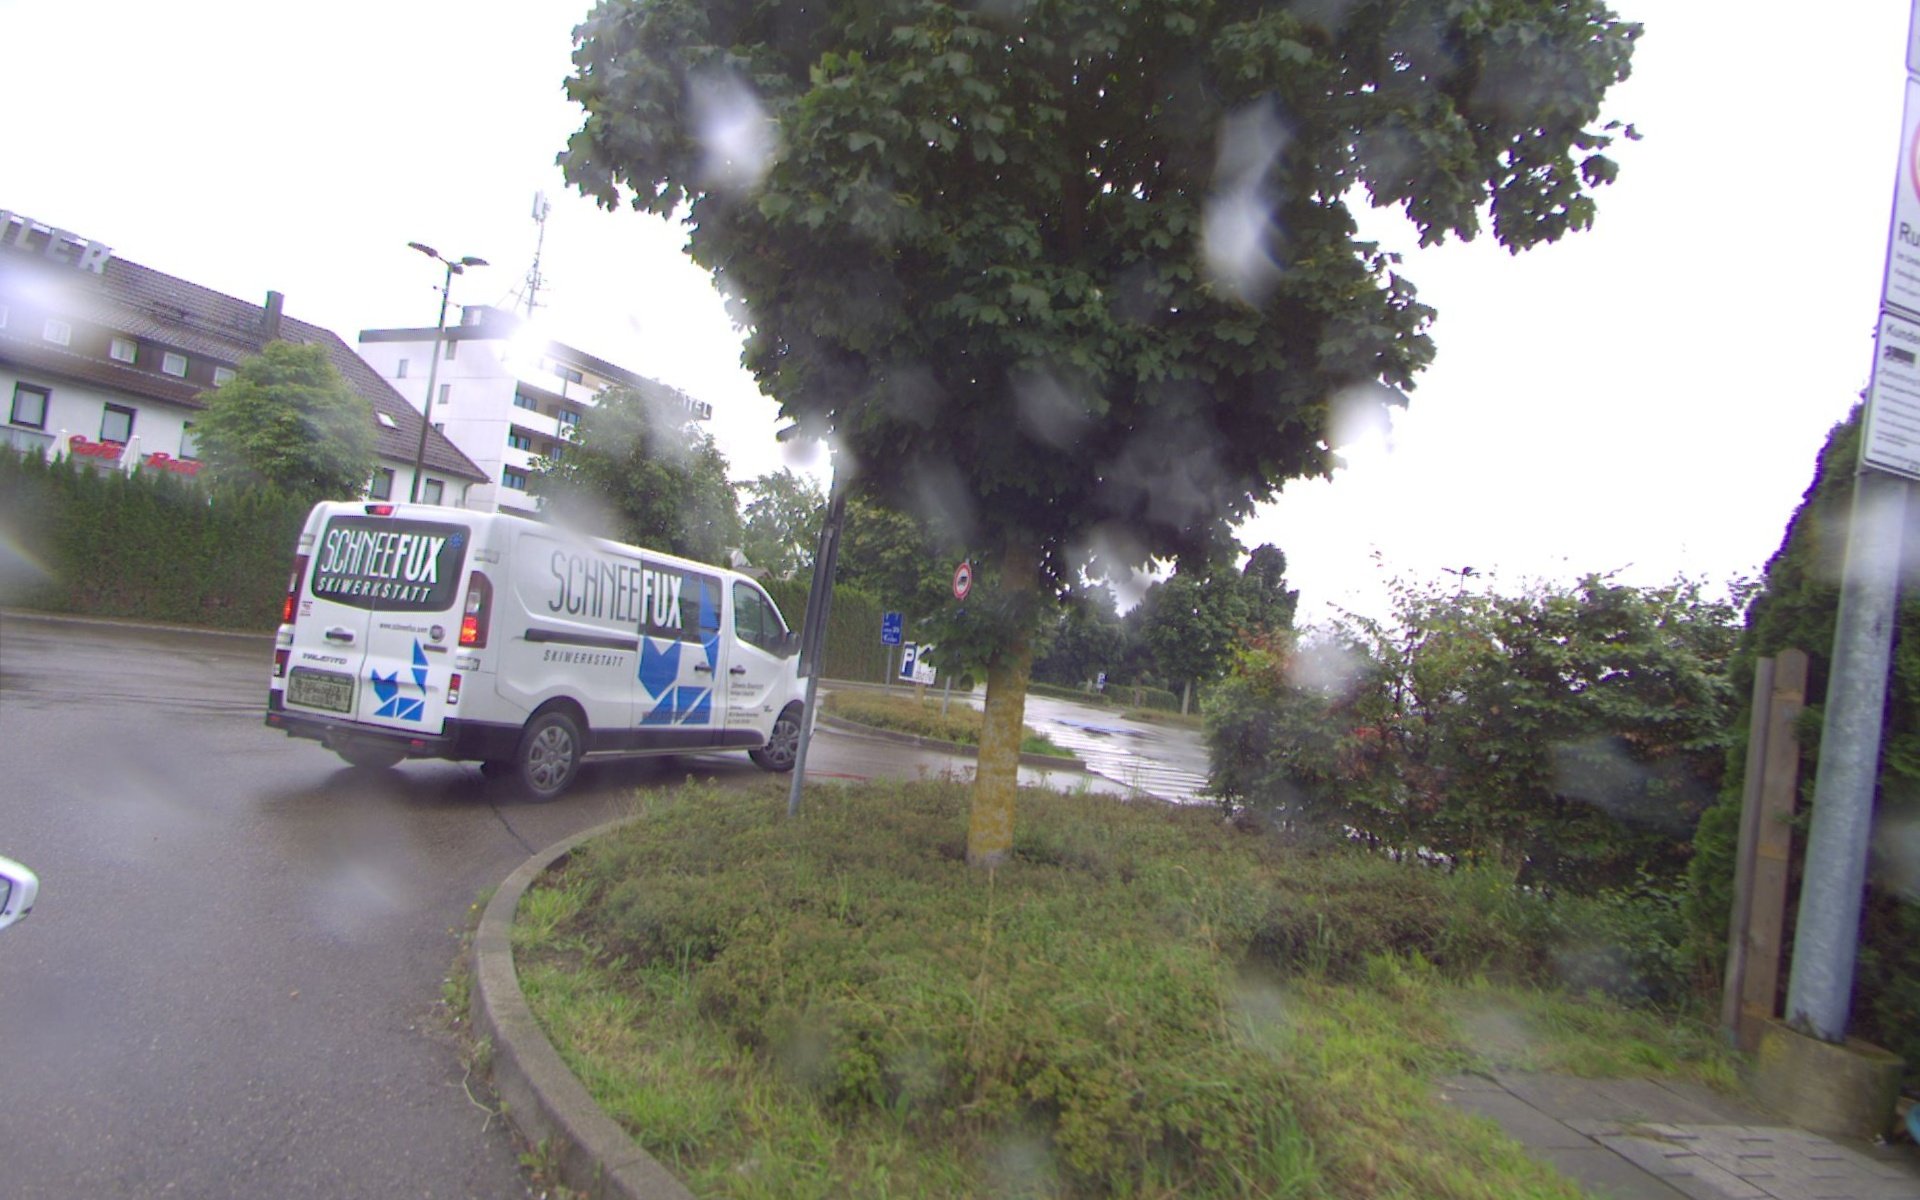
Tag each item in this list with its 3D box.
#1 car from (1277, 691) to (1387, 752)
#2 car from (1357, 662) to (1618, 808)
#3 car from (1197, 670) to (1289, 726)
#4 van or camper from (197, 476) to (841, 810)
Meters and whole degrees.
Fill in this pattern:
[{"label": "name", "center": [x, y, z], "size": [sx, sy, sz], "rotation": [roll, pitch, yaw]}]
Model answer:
[{"label": "car", "center": [14.274, 4.634, 38.839], "size": [1.689, 1.712, 4.033], "rotation": [8, -2, -19]}, {"label": "car", "center": [10.532, 2.607, 20.588], "size": [1.967, 2.213, 4.761], "rotation": [7, -2, -12]}, {"label": "car", "center": [11.109, 3.818, 39.843], "size": [1.770, 1.712, 4.044], "rotation": [7, -2, -10]}, {"label": "van or camper", "center": [-3.262, 0.473, 8.999], "size": [2.154, 1.966, 5.205], "rotation": [5, -4, 19]}]
